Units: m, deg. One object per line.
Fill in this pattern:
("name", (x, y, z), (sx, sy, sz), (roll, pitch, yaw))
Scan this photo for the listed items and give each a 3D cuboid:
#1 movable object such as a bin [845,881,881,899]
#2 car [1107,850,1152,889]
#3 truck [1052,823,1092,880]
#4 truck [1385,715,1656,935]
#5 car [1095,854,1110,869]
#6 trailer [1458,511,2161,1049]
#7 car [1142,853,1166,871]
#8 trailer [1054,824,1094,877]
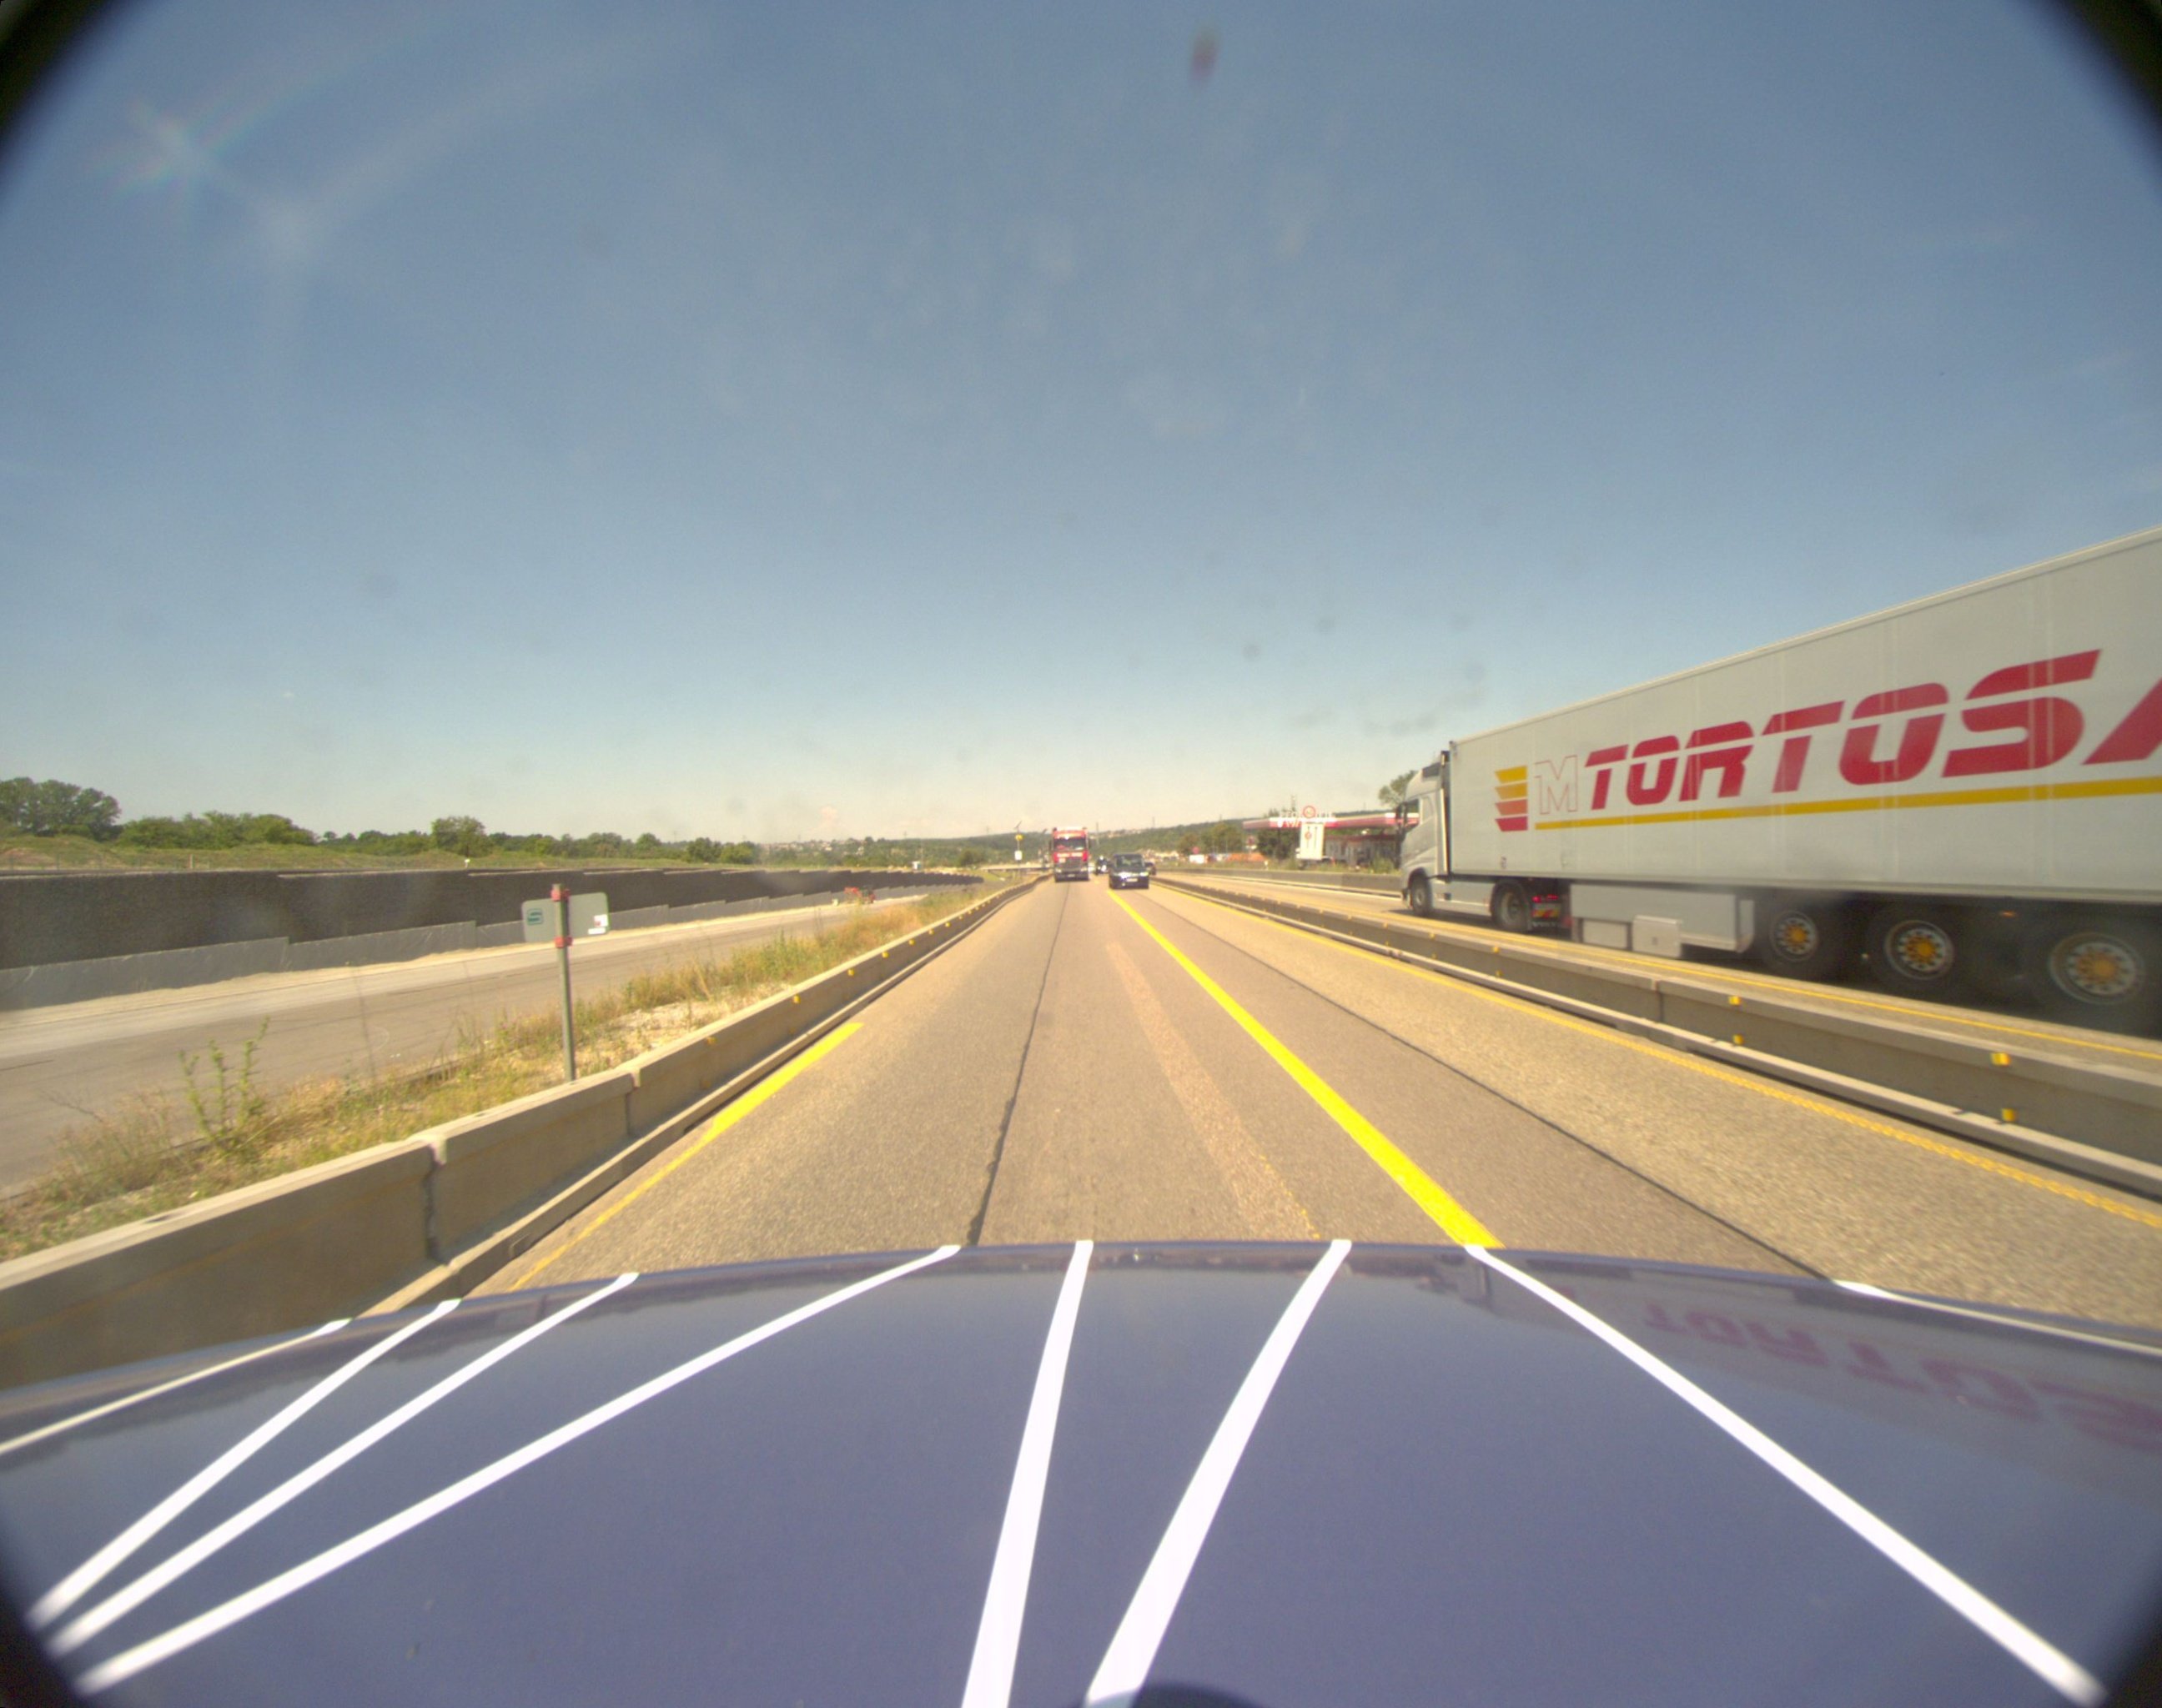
("movable object such as a bin", (-28.920, 4.774, 100.836), (4.139, 2.135, 1.759), (-2, 1, -27))
("car", (2.366, 0.718, 38.240), (1.926, 1.779, 4.602), (-1, 0, 0))
("truck", (-0.595, -0.200, 56.033), (2.626, 3.881, 4.933), (-2, 1, 1))
("truck", (9.481, -0.572, 17.208), (2.838, 4.108, 5.457), (-2, 1, -1))
("car", (2.215, 0.765, 78.501), (1.427, 1.477, 3.414), (-2, 1, 0))
("trailer", (9.571, -0.580, 9.652), (2.822, 4.070, 13.122), (-2, 0, 0))
("car", (6.784, 0.735, 70.638), (1.799, 1.477, 3.999), (-2, 1, 0))
("trailer", (-0.403, -0.308, 62.431), (2.701, 3.852, 12.422), (-2, 1, 2))
